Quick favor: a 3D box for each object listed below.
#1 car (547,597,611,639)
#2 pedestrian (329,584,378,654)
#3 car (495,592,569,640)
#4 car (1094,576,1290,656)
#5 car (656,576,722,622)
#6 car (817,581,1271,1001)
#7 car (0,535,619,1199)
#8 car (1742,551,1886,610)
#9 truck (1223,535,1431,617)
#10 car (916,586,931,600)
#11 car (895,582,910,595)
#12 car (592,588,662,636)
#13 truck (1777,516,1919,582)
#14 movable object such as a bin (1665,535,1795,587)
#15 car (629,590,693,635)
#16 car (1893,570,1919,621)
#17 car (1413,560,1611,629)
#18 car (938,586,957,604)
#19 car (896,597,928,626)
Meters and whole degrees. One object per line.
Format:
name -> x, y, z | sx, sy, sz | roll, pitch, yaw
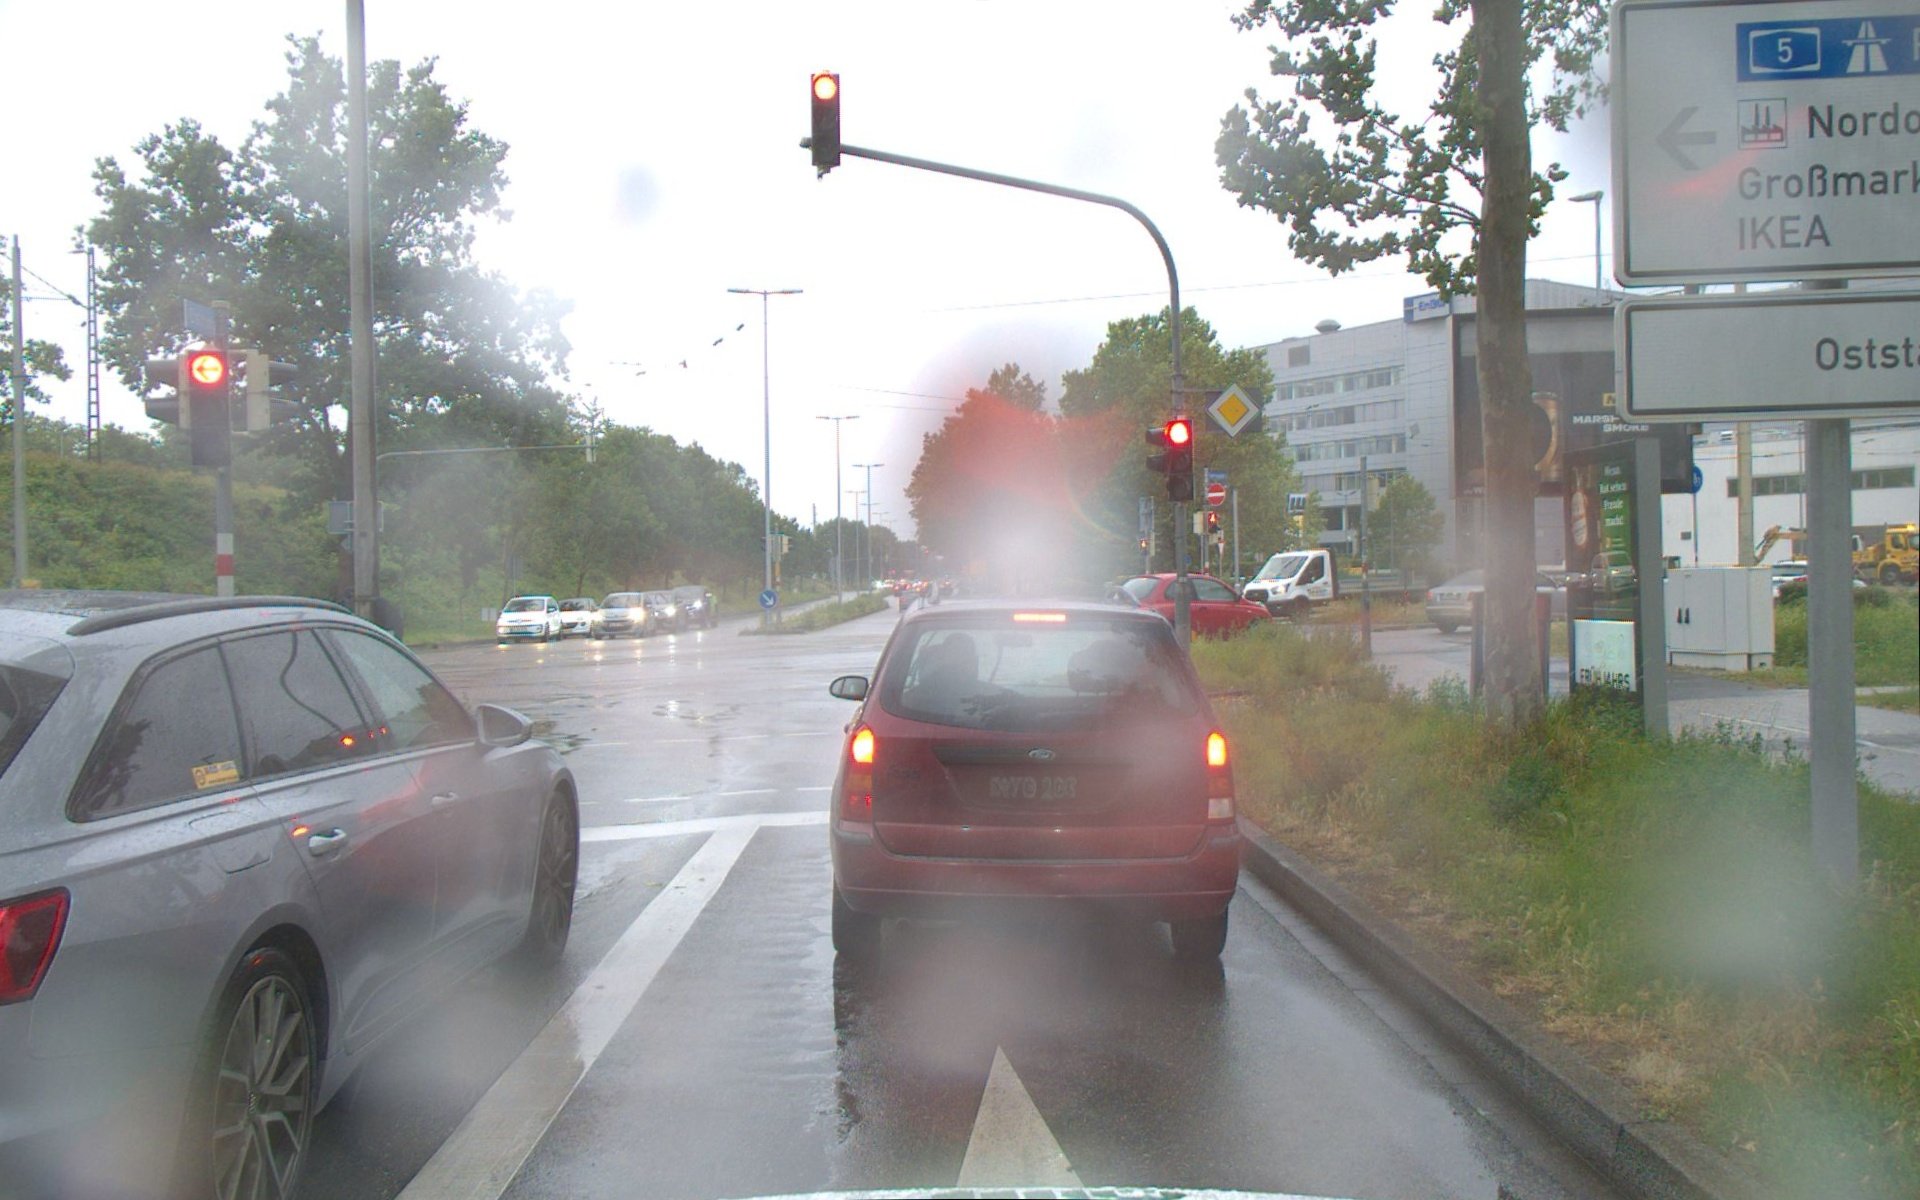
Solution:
car -> -14.070, 0.635, 61.220 | 1.558, 1.428, 3.822 | -2, 1, -2
pedestrian -> -16.657, 0.508, 45.443 | 1.083, 1.879, 1.127 | -1, 0, -13
car -> -14.169, 0.493, 54.892 | 1.605, 1.478, 3.785 | -2, 1, -3
car -> 4.670, 0.287, 33.127 | 3.769, 1.517, 1.659 | 0, 0, -33
car -> -11.617, -0.072, 71.244 | 2.024, 1.851, 5.539 | -2, 1, -2
car -> 0.251, 0.672, 7.803 | 1.609, 1.490, 3.731 | 1, 0, -2
car -> -2.303, 0.667, 4.812 | 1.733, 1.601, 4.819 | 1, 0, -2
car -> 24.780, -0.576, 47.947 | 4.575, 1.614, 1.902 | -1, 0, -37
truck -> 11.562, -0.772, 51.816 | 6.790, 2.406, 2.451 | -1, 0, -36
car -> -4.256, -0.829, 193.723 | 1.663, 1.554, 3.846 | -1, 0, 0
car -> -7.033, -1.363, 202.520 | 1.663, 1.554, 3.846 | -1, 0, 1
car -> -11.234, 0.370, 55.982 | 1.605, 1.499, 3.964 | -2, 1, -1
truck -> 52.797, -2.943, 97.369 | 3.292, 3.568, 7.789 | -2, 0, -36
movable object such as a bin -> 48.344, -2.416, 103.980 | 3.292, 3.048, 6.634 | -2, 0, -36
car -> -11.356, 0.463, 63.067 | 1.727, 1.614, 4.811 | -2, 0, -2
car -> 32.258, -0.188, 53.618 | 4.577, 1.614, 1.901 | -1, 0, -38
car -> 13.032, -0.149, 38.948 | 4.771, 1.517, 1.905 | -1, 0, -34
car -> -1.175, -0.475, 154.818 | 1.636, 1.554, 3.846 | -1, 0, 1
car -> -3.197, 0.770, 110.029 | 1.954, 1.822, 3.997 | 1, 0, -4
